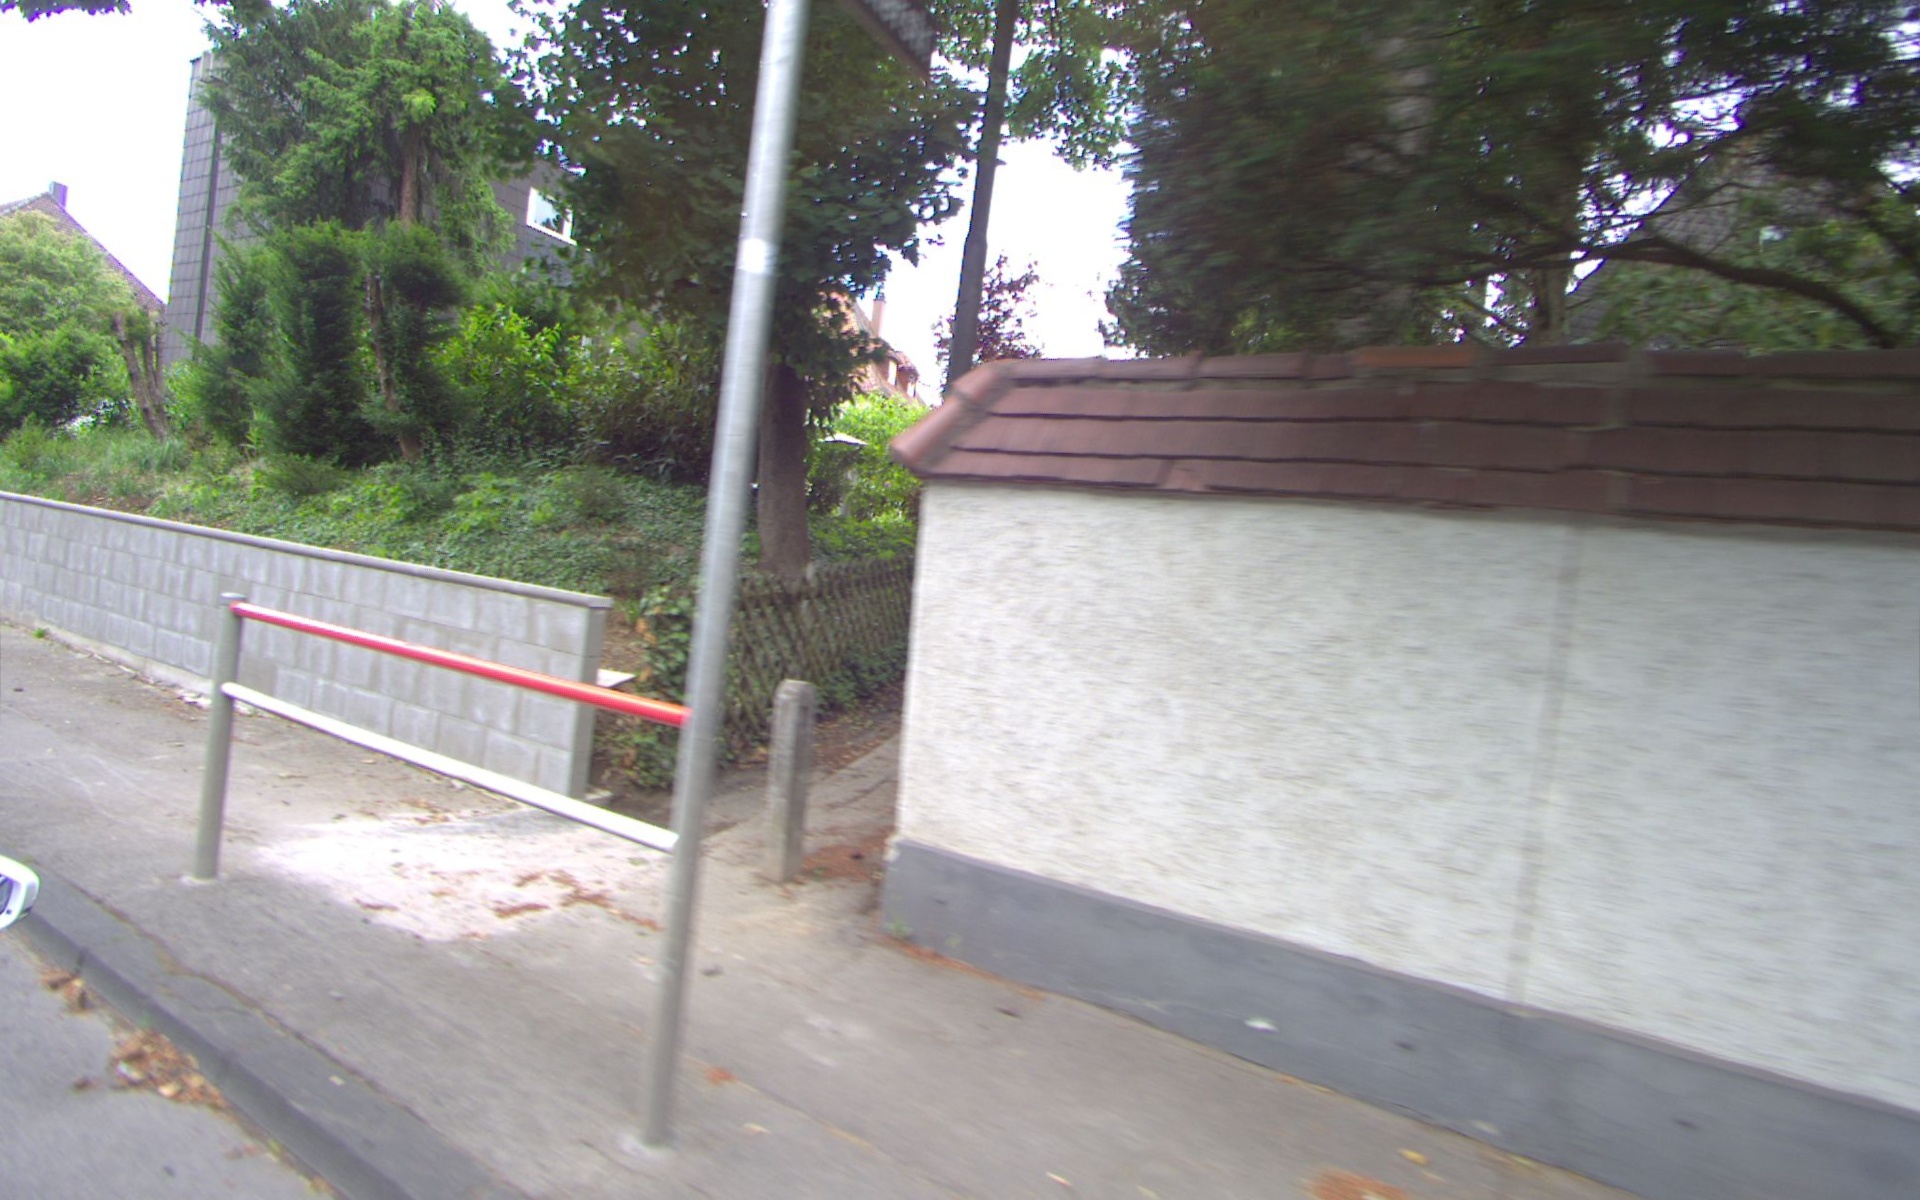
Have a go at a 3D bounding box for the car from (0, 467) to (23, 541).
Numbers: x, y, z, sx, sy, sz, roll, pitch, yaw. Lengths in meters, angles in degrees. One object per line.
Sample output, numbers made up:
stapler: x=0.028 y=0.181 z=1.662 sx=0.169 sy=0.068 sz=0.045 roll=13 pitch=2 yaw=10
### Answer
car: x=-24.051 y=-2.458 z=22.325 sx=1.800 sy=1.673 sz=4.397 roll=8 pitch=1 yaw=33
